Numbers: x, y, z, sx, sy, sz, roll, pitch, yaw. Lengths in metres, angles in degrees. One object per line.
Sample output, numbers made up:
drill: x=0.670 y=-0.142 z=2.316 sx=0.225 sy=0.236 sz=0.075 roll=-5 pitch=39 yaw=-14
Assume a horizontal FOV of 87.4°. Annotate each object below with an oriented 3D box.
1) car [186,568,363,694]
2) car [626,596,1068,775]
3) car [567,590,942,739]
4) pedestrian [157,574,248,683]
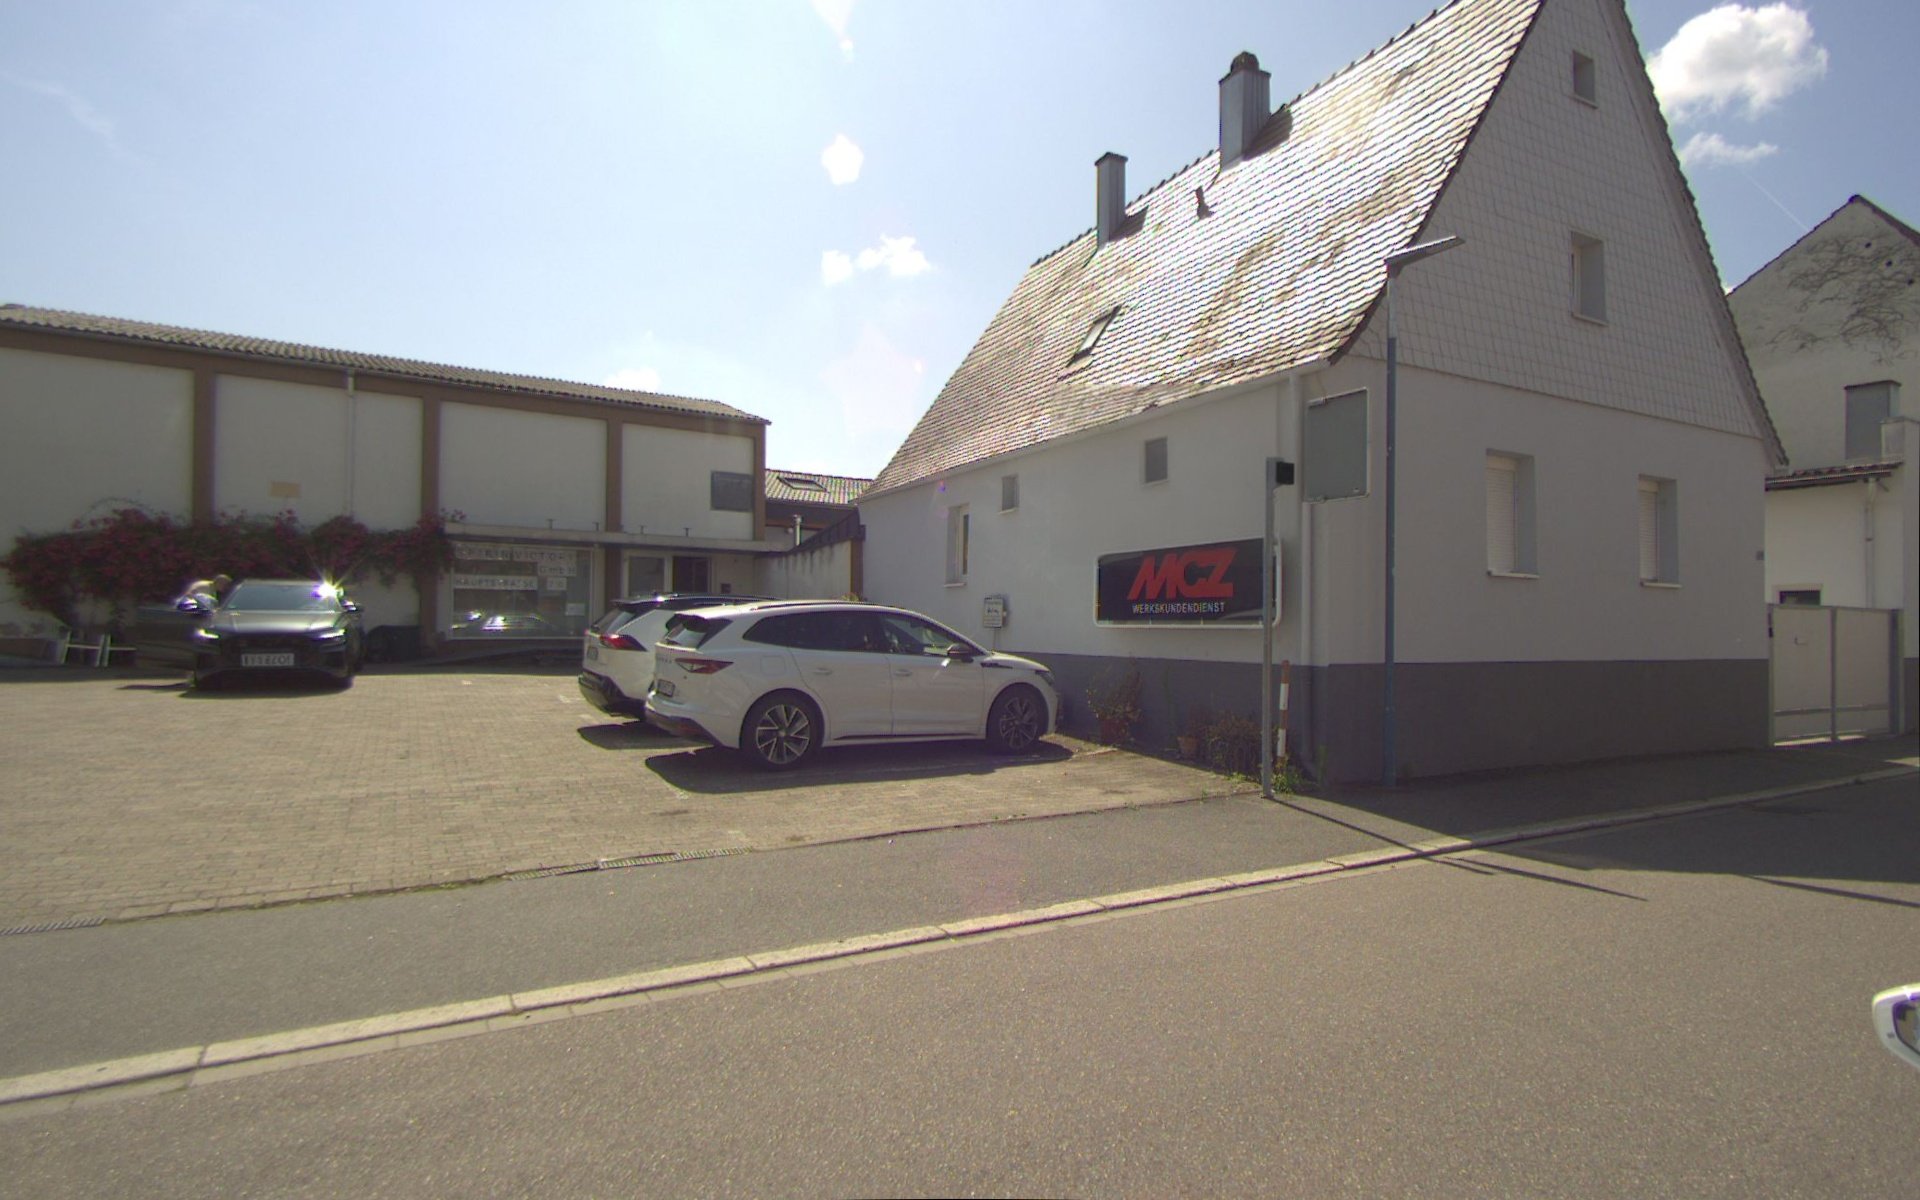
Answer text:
car: x=-11.061 y=0.456 z=16.540 sx=2.013 sy=1.748 sz=4.658 roll=1 pitch=-1 yaw=-30
car: x=-1.122 y=0.811 z=10.848 sx=4.430 sy=1.591 sz=1.764 roll=2 pitch=-1 yaw=-33
car: x=-2.591 y=0.766 z=13.022 sx=4.428 sy=1.641 sz=1.765 roll=2 pitch=-1 yaw=-32
pedestrian: x=-12.069 y=0.447 z=16.032 sx=0.769 sy=1.680 sz=0.831 roll=1 pitch=0 yaw=3
